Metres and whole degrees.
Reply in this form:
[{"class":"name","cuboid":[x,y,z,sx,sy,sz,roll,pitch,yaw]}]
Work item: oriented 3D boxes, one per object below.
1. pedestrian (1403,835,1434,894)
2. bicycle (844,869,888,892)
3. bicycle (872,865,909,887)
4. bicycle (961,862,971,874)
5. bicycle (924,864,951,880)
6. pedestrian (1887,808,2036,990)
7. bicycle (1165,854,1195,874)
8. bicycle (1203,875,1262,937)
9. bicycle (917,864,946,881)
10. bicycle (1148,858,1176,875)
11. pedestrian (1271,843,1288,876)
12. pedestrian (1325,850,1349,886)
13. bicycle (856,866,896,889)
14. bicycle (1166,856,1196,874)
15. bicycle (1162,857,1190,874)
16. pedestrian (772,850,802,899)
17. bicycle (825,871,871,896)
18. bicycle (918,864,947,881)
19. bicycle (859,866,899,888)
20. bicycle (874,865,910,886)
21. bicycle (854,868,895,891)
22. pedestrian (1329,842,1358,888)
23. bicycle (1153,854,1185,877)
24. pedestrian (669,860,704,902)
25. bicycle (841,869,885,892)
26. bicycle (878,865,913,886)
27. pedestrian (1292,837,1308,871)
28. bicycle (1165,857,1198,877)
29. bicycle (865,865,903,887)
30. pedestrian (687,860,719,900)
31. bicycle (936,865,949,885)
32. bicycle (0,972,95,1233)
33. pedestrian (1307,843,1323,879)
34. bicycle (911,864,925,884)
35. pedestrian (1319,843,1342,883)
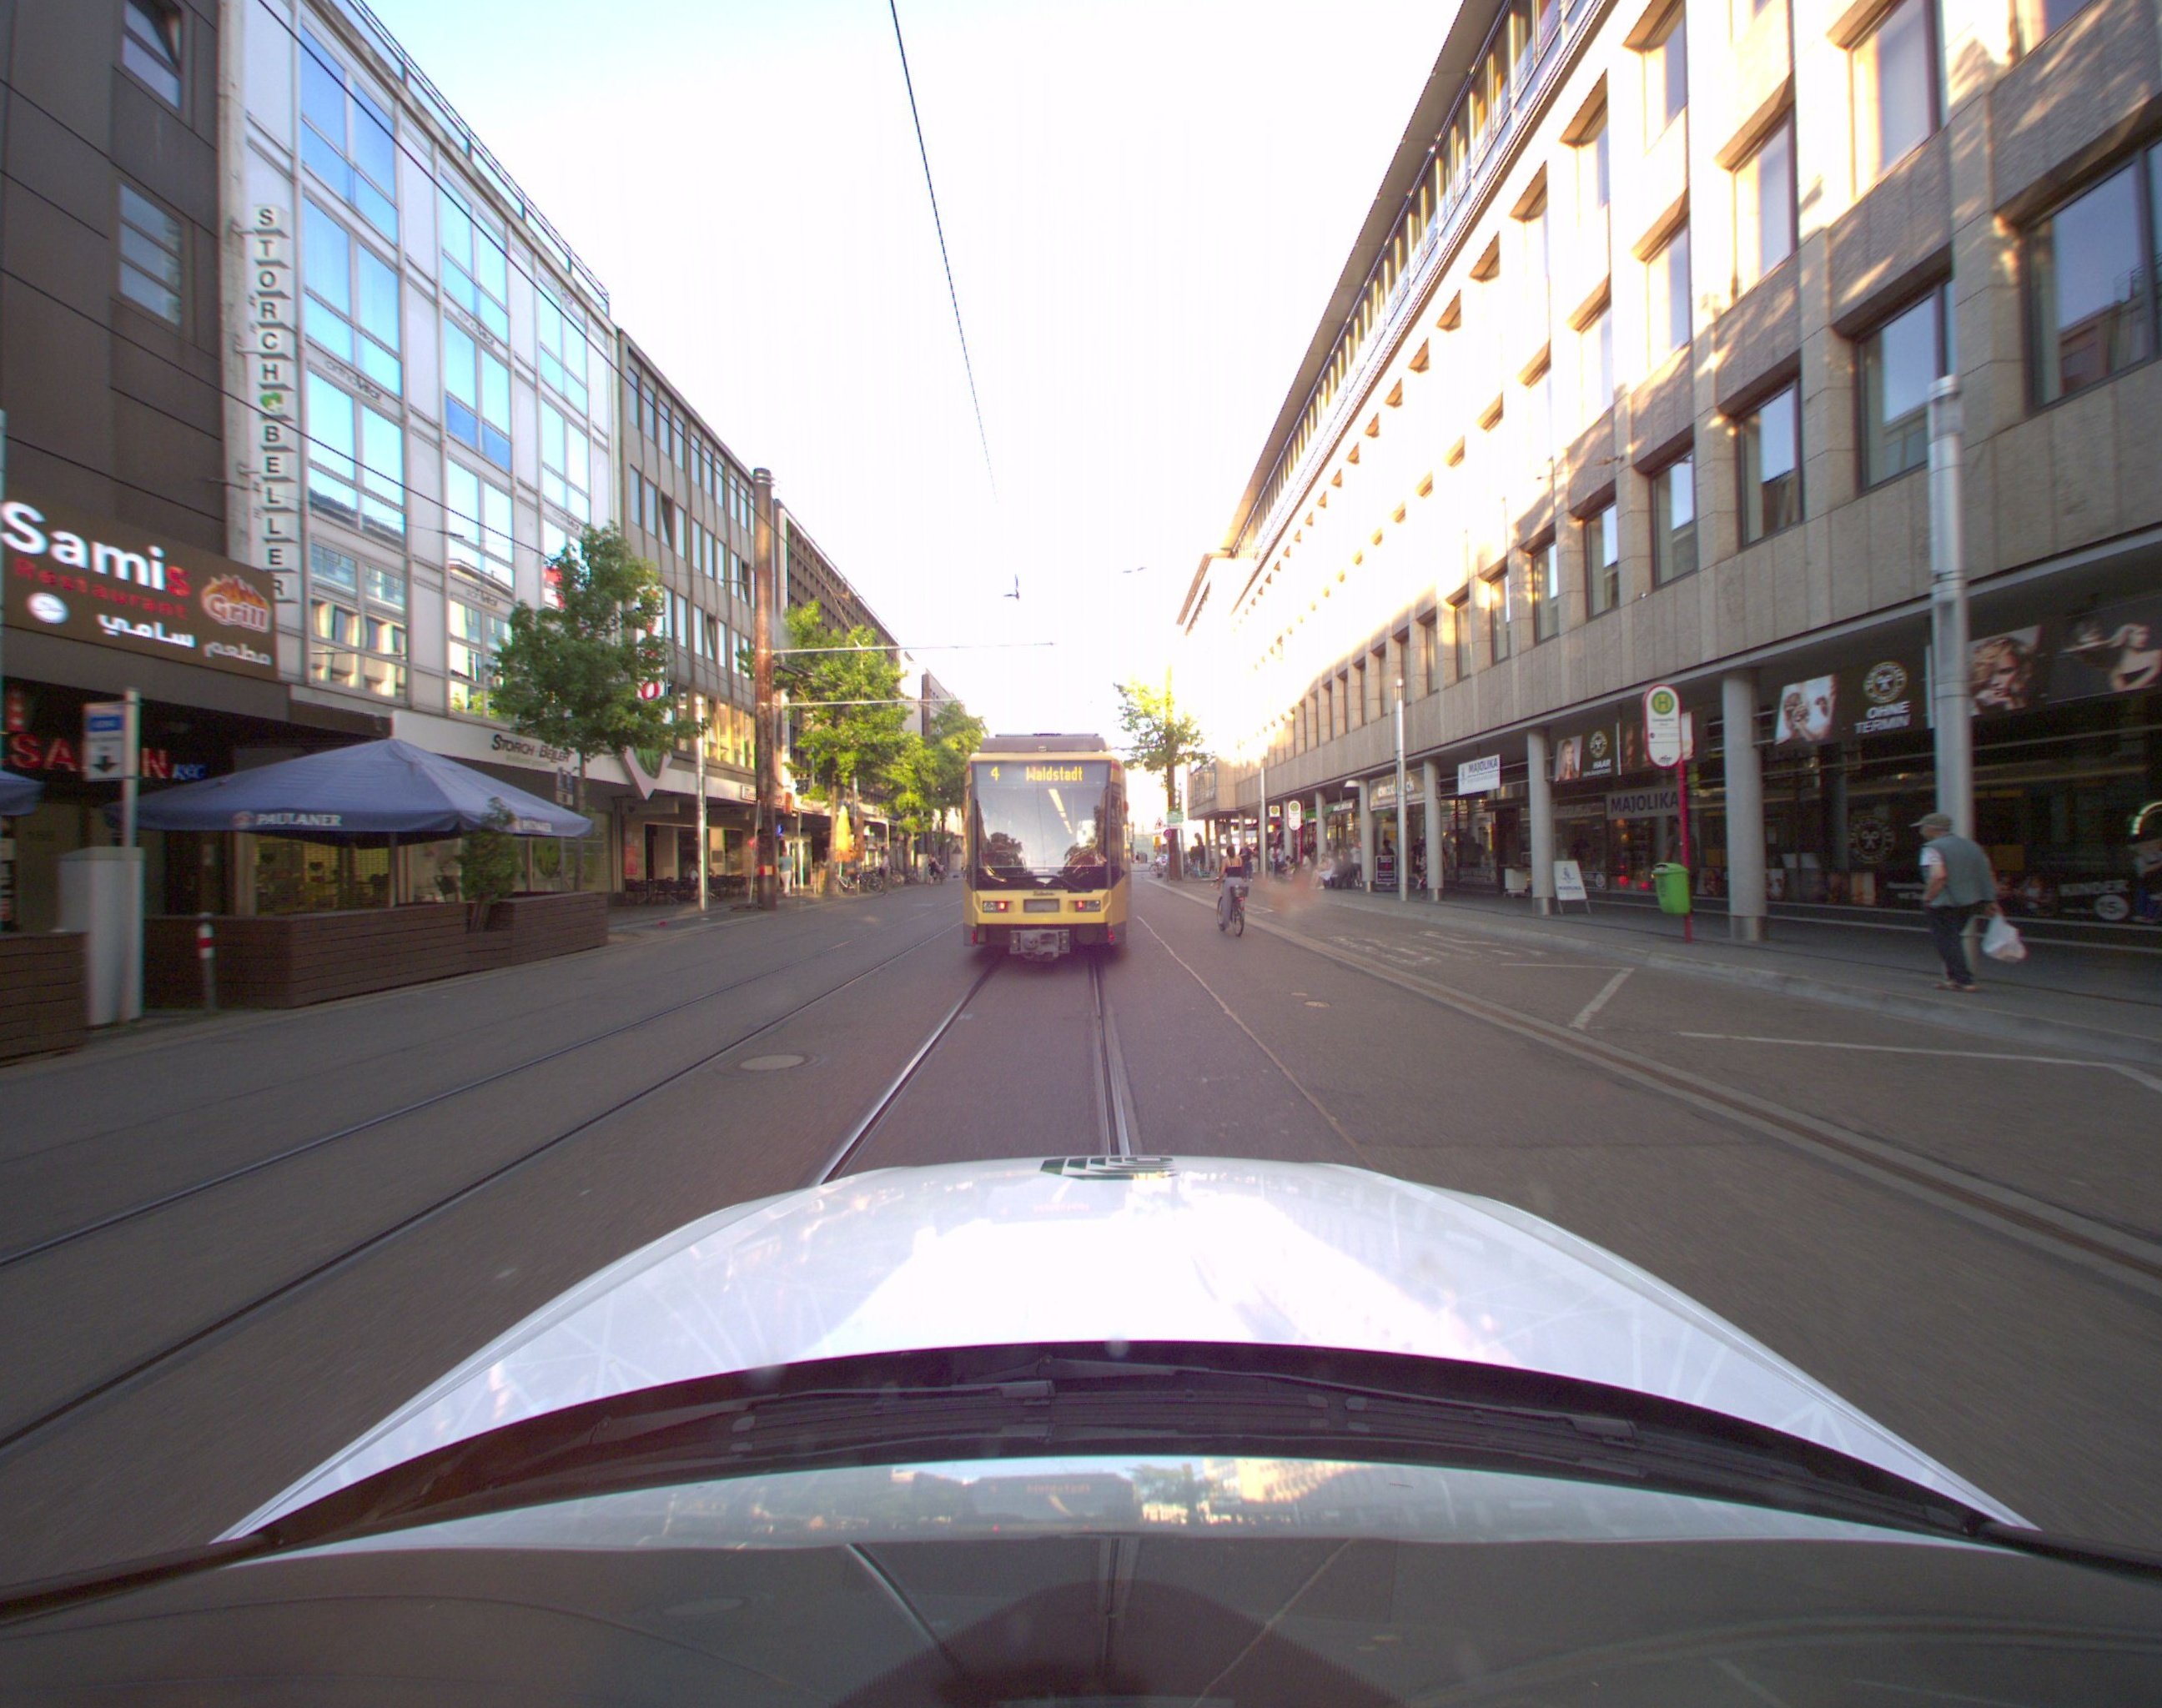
[{"class":"pedestrian","cuboid":[10.365,0.316,25.029,0.580,1.753,0.773,-2,-1,-1]},{"class":"bicycle","cuboid":[-9.438,1.152,35.781,1.769,0.990,0.488,0,1,-6]},{"class":"bicycle","cuboid":[-9.777,1.125,41.890,1.769,1.071,0.488,1,0,-6]},{"class":"bicycle","cuboid":[-10.723,1.290,75.897,0.496,1.107,1.803,-1,1,5]},{"class":"bicycle","cuboid":[-9.622,1.204,54.663,1.766,1.045,0.489,0,0,0]},{"class":"pedestrian","cuboid":[7.995,0.396,7.424,0.666,1.588,0.638,0,-1,-1]},{"class":"bicycle","cuboid":[6.786,0.693,55.987,1.912,1.222,0.762,-3,0,-5]},{"class":"bicycle","cuboid":[2.961,0.992,16.117,0.812,1.073,2.113,0,0,1]},{"class":"bicycle","cuboid":[-9.674,1.190,52.779,1.766,1.045,0.489,0,0,0]},{"class":"bicycle","cuboid":[5.713,0.870,57.428,1.848,1.109,0.666,-3,0,-3]},{"class":"pedestrian","cuboid":[10.218,0.281,41.966,0.646,1.661,0.650,-2,0,0]},{"class":"pedestrian","cuboid":[9.560,0.525,30.443,0.715,1.314,0.532,-1,-1,1]},{"class":"bicycle","cuboid":[-9.759,1.101,38.852,1.769,1.071,0.488,1,0,-6]},{"class":"bicycle","cuboid":[6.780,0.757,55.240,1.912,1.077,0.762,-3,0,-5]},{"class":"bicycle","cuboid":[6.729,0.831,57.628,1.848,1.109,0.666,-3,0,-3]},{"class":"pedestrian","cuboid":[-10.899,0.747,30.185,0.681,1.793,0.991,1,-1,3]},{"class":"bicycle","cuboid":[-9.316,1.161,32.599,1.758,0.966,0.491,1,-1,16]},{"class":"bicycle","cuboid":[-9.669,1.191,53.021,1.766,1.045,0.489,0,0,0]},{"class":"bicycle","cuboid":[-9.775,1.106,39.429,1.769,1.071,0.488,1,0,-6]},{"class":"bicycle","cuboid":[-9.828,1.130,42.435,1.769,1.071,0.488,1,0,-6]},{"class":"bicycle","cuboid":[-9.422,1.163,37.193,1.769,0.990,0.488,0,1,-6]},{"class":"pedestrian","cuboid":[9.248,0.397,28.702,0.722,1.570,0.736,-2,-1,2]},{"class":"bicycle","cuboid":[5.750,0.746,53.237,1.912,1.333,0.724,-3,0,-5]},{"class":"pedestrian","cuboid":[-12.947,0.875,26.733,0.668,1.325,0.911,1,-1,-1]},{"class":"bicycle","cuboid":[-9.432,1.148,35.253,1.769,0.990,0.488,0,1,-6]},{"class":"bicycle","cuboid":[-9.815,1.135,43.087,1.769,1.071,0.488,1,0,-6]},{"class":"pedestrian","cuboid":[11.991,0.010,44.610,0.660,1.787,0.719,-2,-1,0]},{"class":"bicycle","cuboid":[6.463,0.826,52.413,1.992,1.155,0.724,-3,0,-5]},{"class":"bicycle","cuboid":[-9.817,1.116,40.670,1.769,1.071,0.488,1,0,-6]},{"class":"pedestrian","cuboid":[-12.955,0.885,27.930,0.668,1.325,0.911,1,-1,-1]},{"class":"bicycle","cuboid":[-7.750,1.175,45.699,0.487,1.045,1.776,-1,0,-3]},{"class":"bicycle","cuboid":[-5.019,1.091,2.892,0.728,1.073,1.866,0,0,1]},{"class":"pedestrian","cuboid":[11.693,0.351,40.728,0.568,1.731,0.617,-2,-1,-1]},{"class":"bicycle","cuboid":[-9.118,1.123,45.502,0.487,1.045,1.776,-1,0,-3]},{"class":"pedestrian","cuboid":[10.574,0.378,34.534,0.685,1.661,0.722,-2,-1,2]}]
